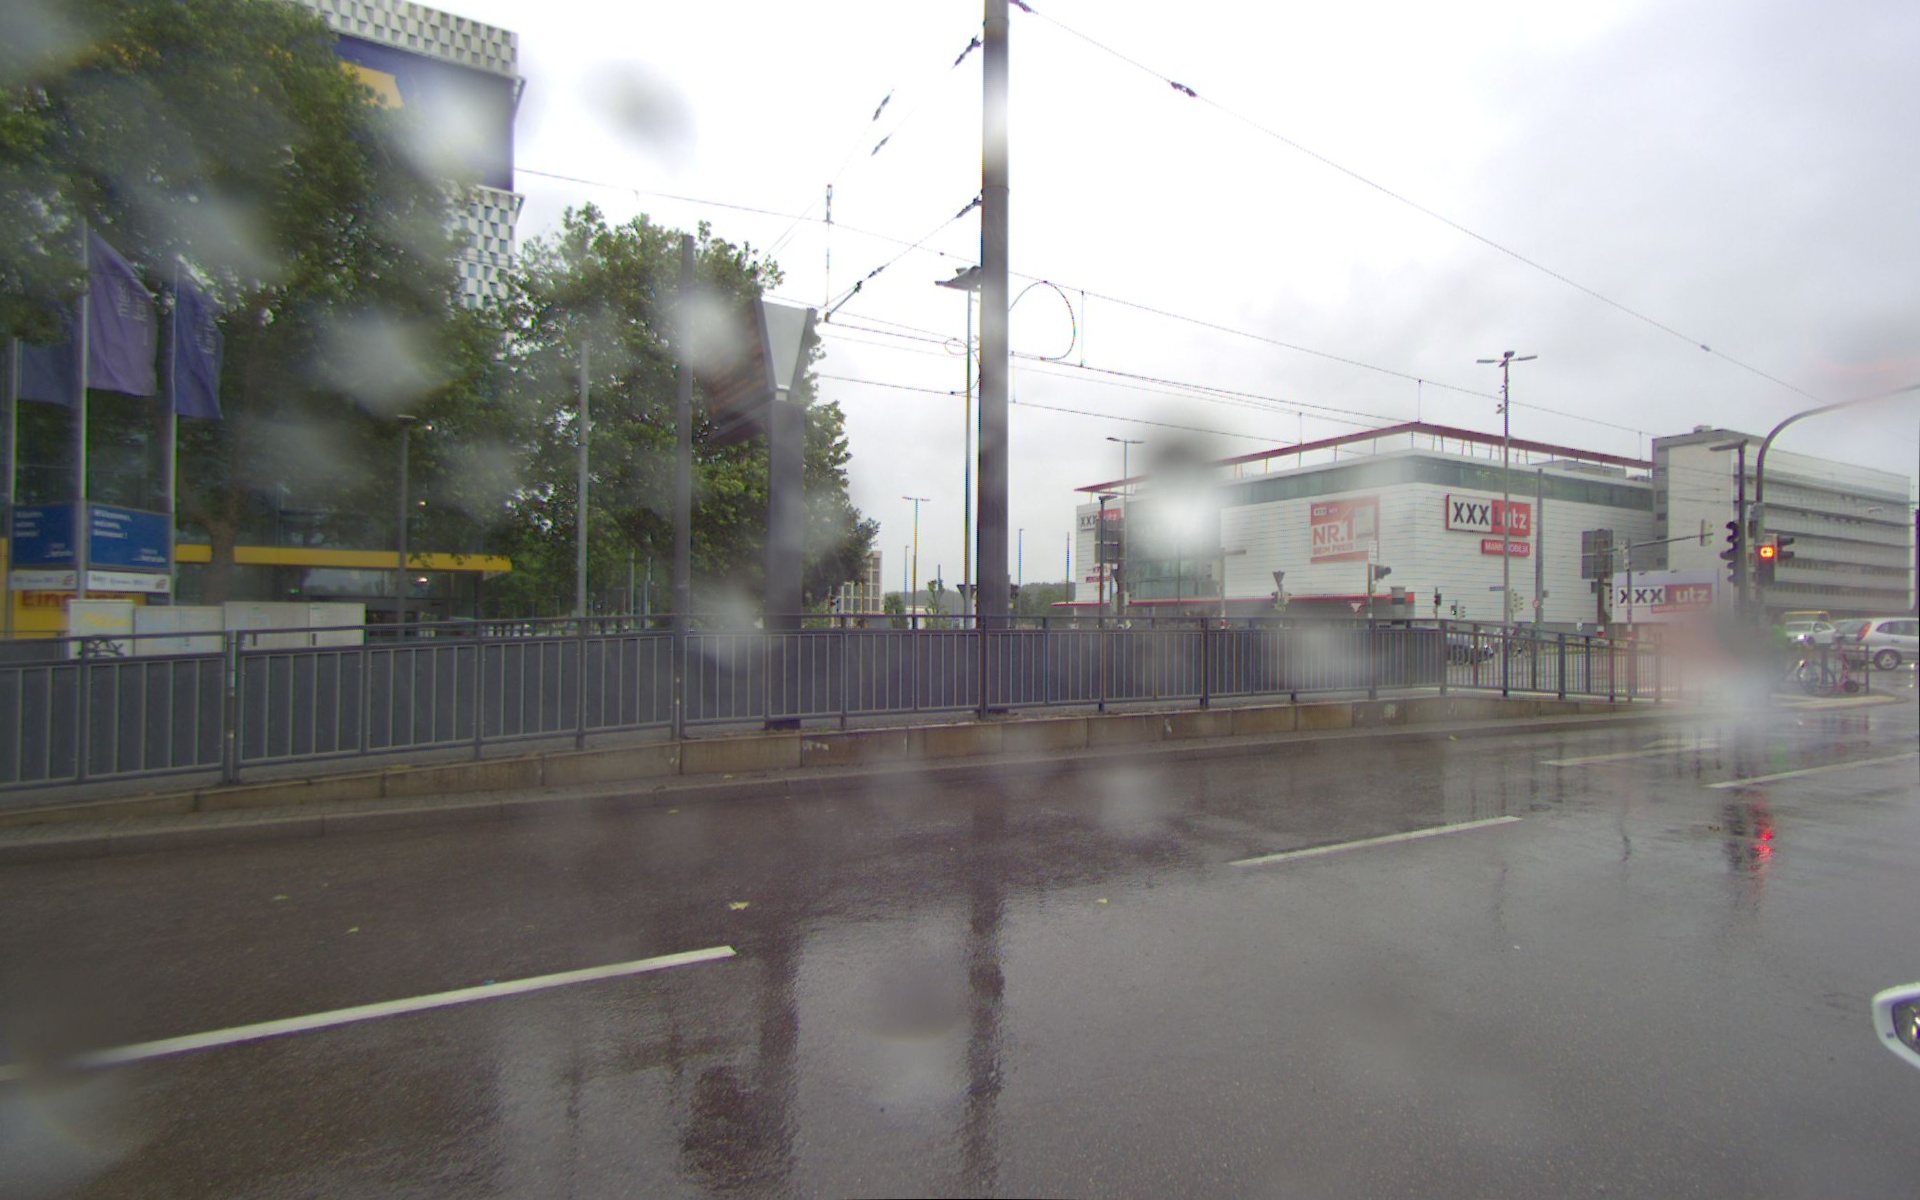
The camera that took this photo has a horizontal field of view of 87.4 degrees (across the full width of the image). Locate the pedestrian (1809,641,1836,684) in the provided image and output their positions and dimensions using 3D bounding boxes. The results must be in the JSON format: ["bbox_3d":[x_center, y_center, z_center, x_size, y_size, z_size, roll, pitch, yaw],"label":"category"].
[{"bbox_3d":[18.477,1.335,21.518,0.376,0.909,0.313,1,2,-32],"label":"pedestrian"}]

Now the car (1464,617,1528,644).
[{"bbox_3d":[30.880,1.739,57.863,3.765,1.372,1.471,3,1,-30],"label":"car"}]

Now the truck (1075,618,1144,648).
[{"bbox_3d":[11.670,2.595,78.900,1.990,1.968,5.847,3,1,-31],"label":"truck"}]

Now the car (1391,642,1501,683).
[{"bbox_3d":[18.055,2.287,37.378,3.476,1.223,1.436,3,1,34],"label":"car"}]

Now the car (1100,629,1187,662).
[{"bbox_3d":[9.215,2.268,50.639,4.002,1.394,1.600,3,1,40],"label":"car"}]

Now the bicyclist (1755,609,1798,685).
[{"bbox_3d":[16.790,0.962,20.649,0.597,1.511,0.596,2,1,44],"label":"bicyclist"}]

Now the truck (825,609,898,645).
[{"bbox_3d":[-7.427,1.971,74.483,2.445,2.240,7.329,3,1,-31],"label":"truck"}]

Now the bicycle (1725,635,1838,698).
[{"bbox_3d":[16.794,1.342,20.573,1.734,1.153,0.517,2,1,44],"label":"bicycle"}]

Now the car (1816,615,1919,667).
[{"bbox_3d":[29.717,1.312,31.357,4.167,1.447,1.651,3,1,15],"label":"car"}]

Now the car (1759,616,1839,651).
[{"bbox_3d":[39.799,1.593,47.622,3.765,1.445,1.702,3,1,-30],"label":"car"}]
